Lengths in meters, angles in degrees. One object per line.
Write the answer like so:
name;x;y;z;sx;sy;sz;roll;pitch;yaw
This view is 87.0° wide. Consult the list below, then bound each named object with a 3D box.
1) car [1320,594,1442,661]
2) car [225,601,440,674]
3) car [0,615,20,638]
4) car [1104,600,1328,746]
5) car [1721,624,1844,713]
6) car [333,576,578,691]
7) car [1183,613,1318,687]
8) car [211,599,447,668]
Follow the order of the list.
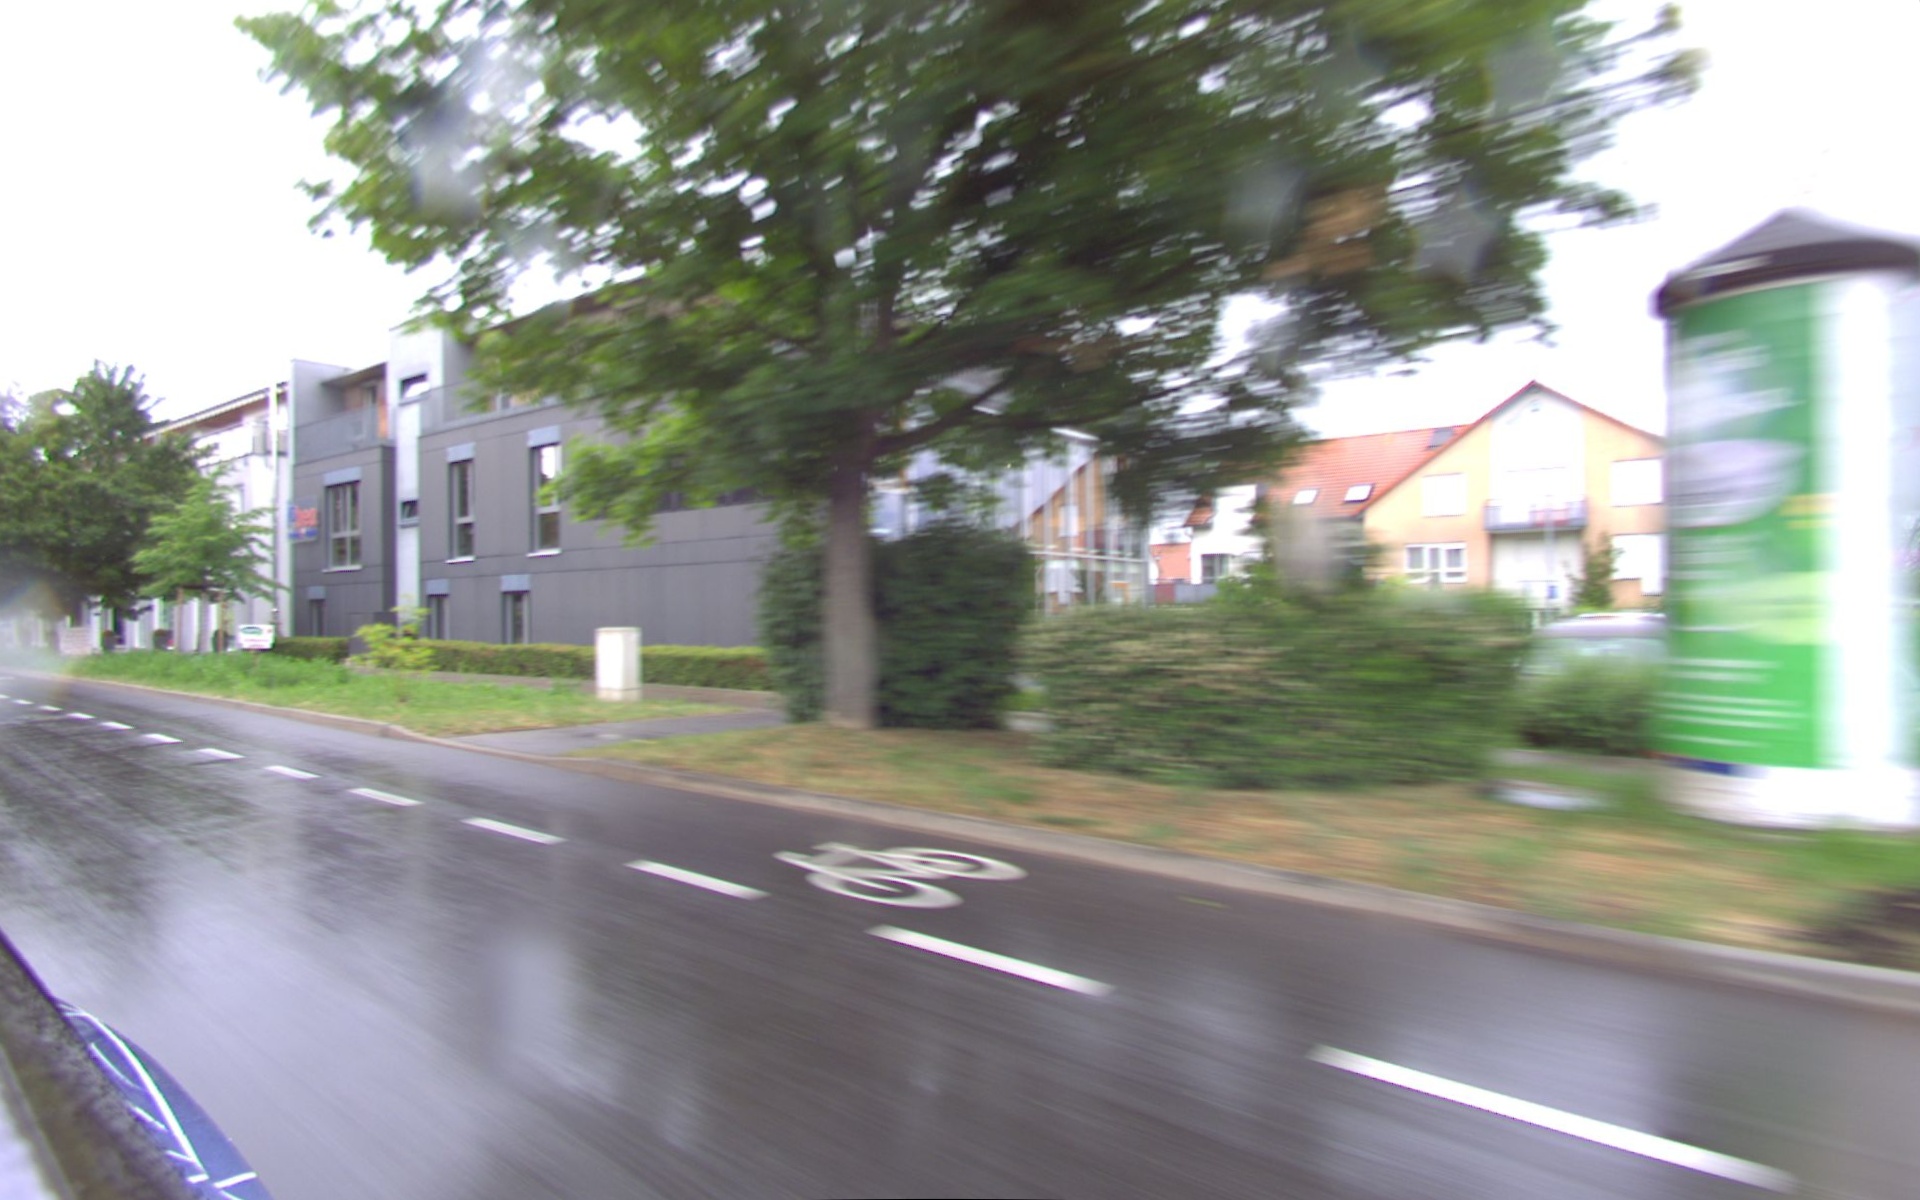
car;11.079;0.729;26.465;2.173;1.579;4.513;1;-2;33
car;-11.037;0.647;17.922;1.469;1.168;2.881;0;-2;37
car;-80.494;2.258;84.002;5.586;1.836;2.019;-2;-1;30
car;4.415;1.091;16.974;2.149;2.029;4.358;-2;-1;36
car;16.789;1.317;20.632;1.748;1.504;3.910;-3;-1;41
car;-7.205;0.465;14.631;1.251;1.466;2.881;2;0;37
car;7.976;1.333;27.524;2.043;1.804;4.507;0;-2;37
car;-13.023;0.684;21.101;1.579;1.294;3.864;0;-2;37
